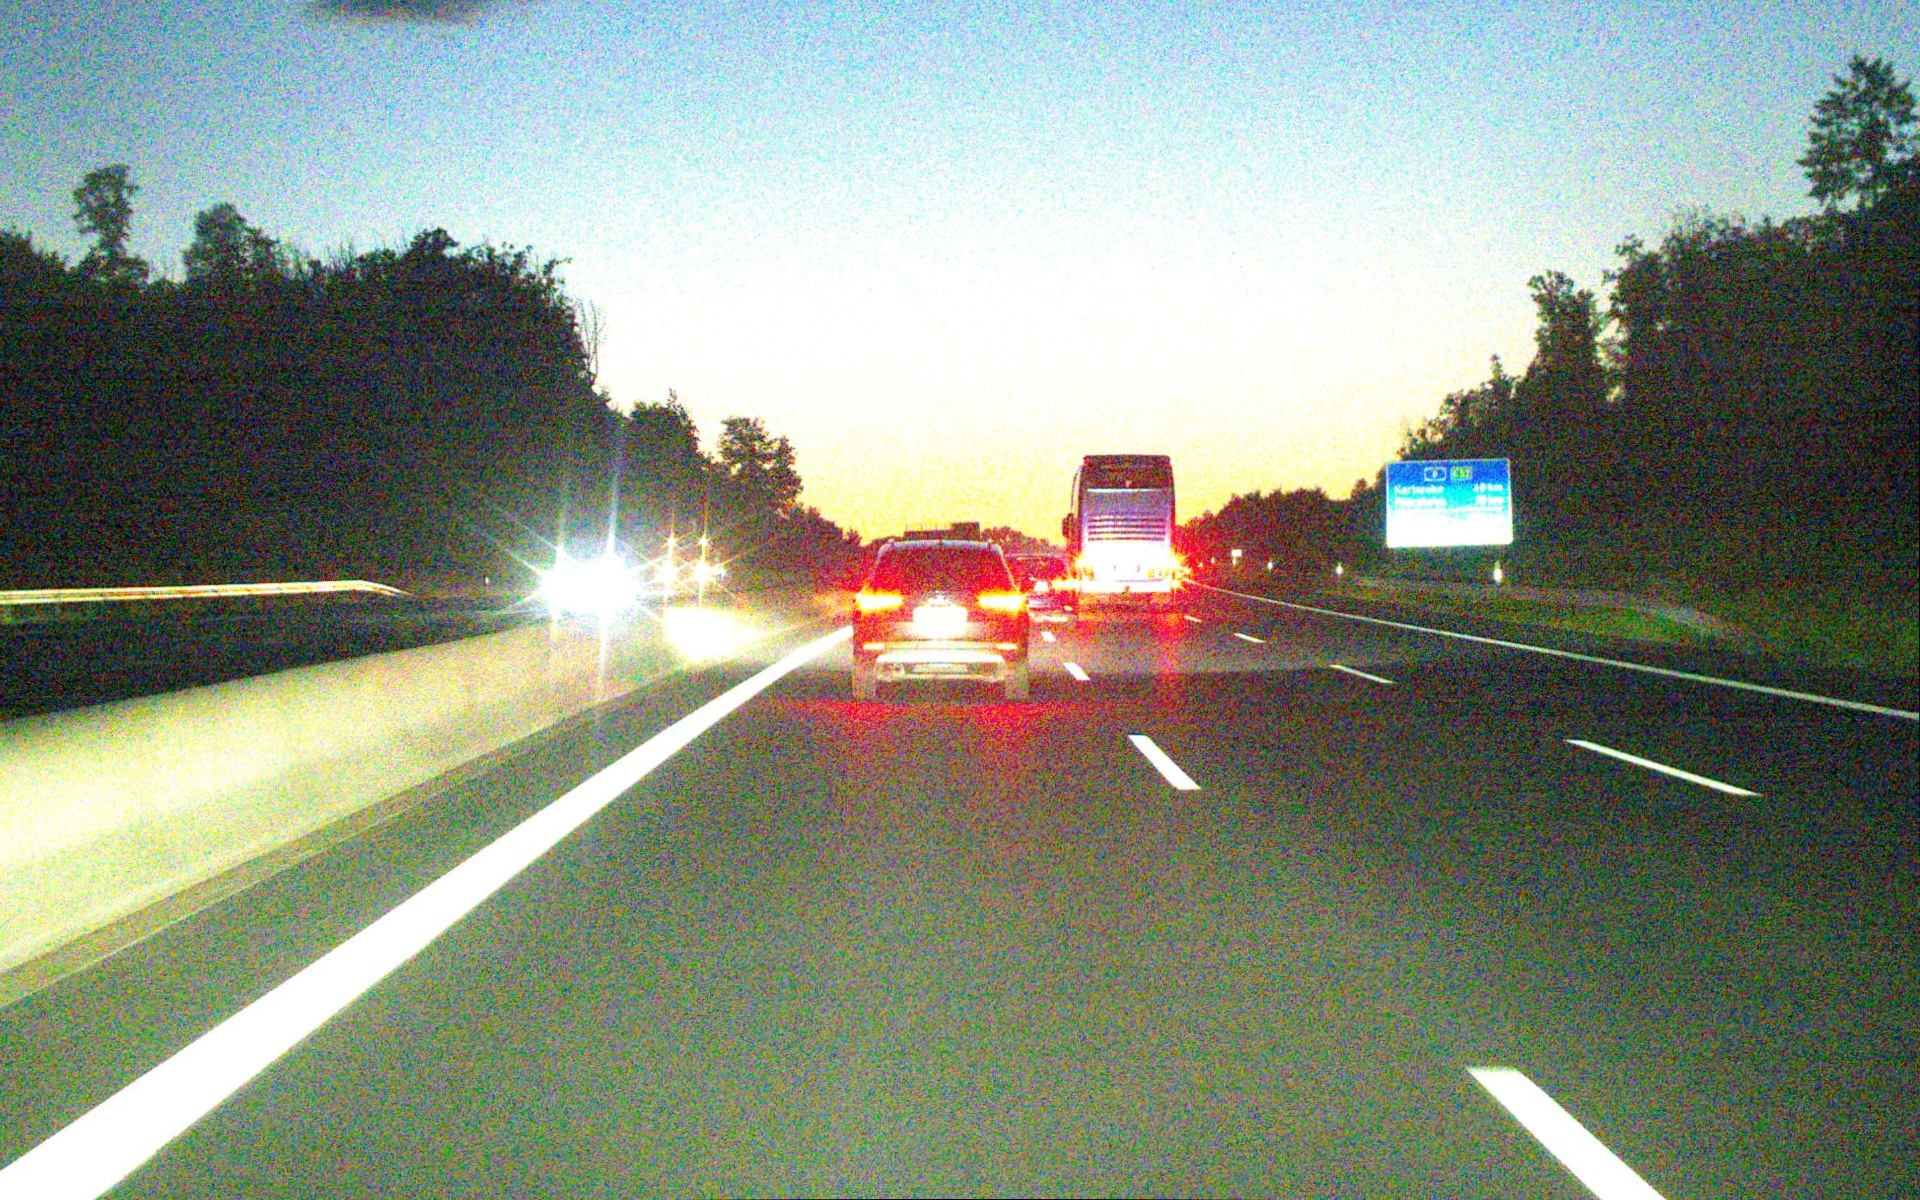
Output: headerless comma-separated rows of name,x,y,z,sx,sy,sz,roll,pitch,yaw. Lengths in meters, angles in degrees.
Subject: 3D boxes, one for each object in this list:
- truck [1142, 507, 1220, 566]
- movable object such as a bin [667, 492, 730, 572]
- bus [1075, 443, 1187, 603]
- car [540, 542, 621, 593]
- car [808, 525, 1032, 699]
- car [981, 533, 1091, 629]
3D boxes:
truck,11.664,-3.376,182.050,2.545,3.005,9.055,1,1,-6
movable object such as a bin,-12.669,-3.278,166.755,2.293,3.756,7.686,0,1,1
bus,4.623,-1.958,95.423,2.652,3.980,14.700,-2,0,2
car,-11.133,-0.984,101.065,1.933,1.448,4.454,0,1,0
car,-0.387,0.130,35.284,2.106,1.612,4.204,-2,0,0
car,1.453,-0.349,67.398,1.911,1.724,4.000,3,0,-1
